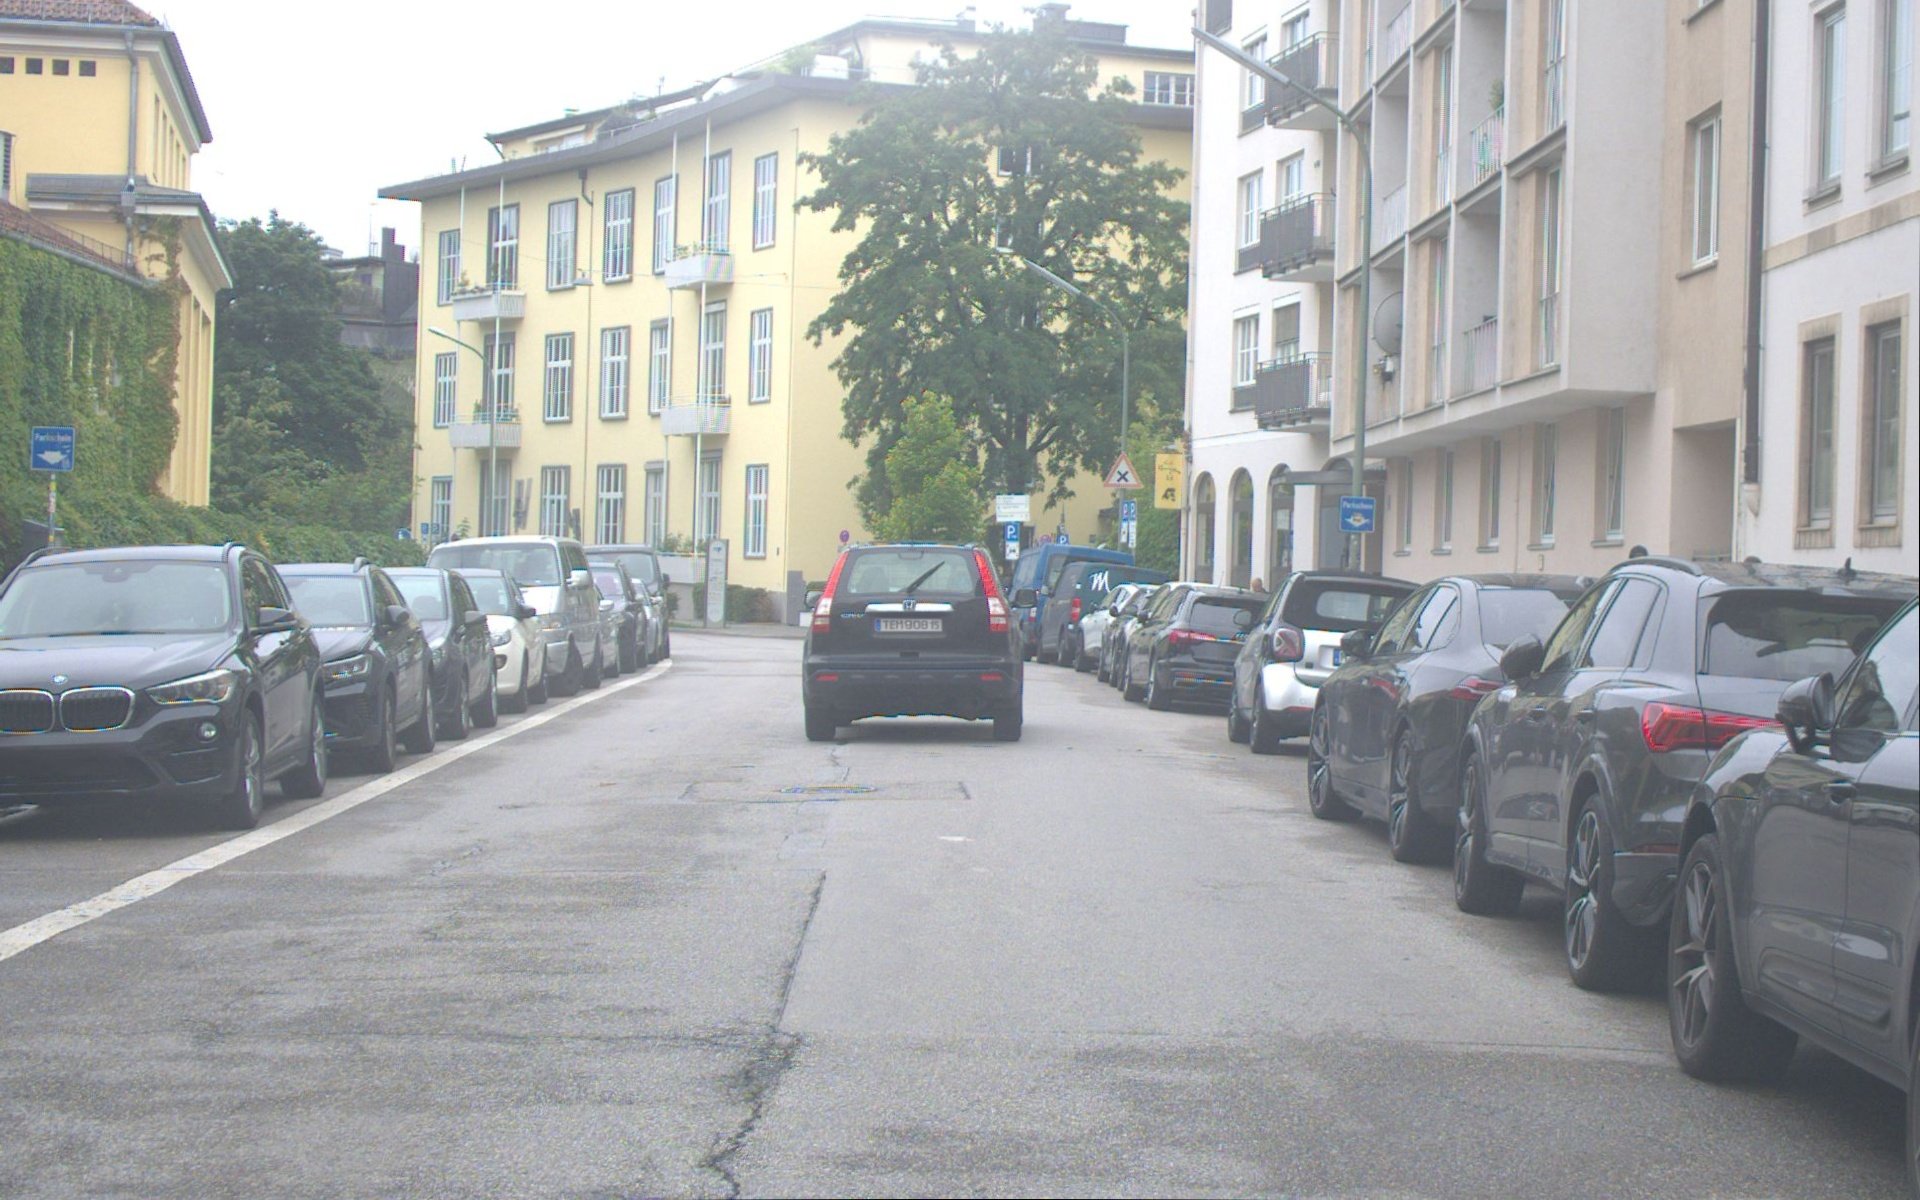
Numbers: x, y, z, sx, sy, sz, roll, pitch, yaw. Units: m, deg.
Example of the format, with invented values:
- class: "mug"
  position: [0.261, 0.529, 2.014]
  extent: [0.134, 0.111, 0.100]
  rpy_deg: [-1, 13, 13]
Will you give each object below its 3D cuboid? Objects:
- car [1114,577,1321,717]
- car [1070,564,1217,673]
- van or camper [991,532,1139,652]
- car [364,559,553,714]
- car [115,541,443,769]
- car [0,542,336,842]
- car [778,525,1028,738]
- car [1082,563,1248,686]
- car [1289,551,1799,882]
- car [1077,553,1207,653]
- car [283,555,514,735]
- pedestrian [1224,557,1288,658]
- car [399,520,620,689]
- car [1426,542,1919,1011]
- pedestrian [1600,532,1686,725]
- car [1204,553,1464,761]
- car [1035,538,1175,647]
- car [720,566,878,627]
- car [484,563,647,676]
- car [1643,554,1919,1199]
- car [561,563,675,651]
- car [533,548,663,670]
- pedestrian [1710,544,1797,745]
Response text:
- class: "car"
  position: [2.909, 0.498, 39.695]
  extent: [1.796, 1.416, 4.483]
  rpy_deg: [3, 0, -3]
- class: "car"
  position: [2.675, 0.243, 50.999]
  extent: [1.739, 1.494, 4.496]
  rpy_deg: [1, 1, -3]
- class: "van or camper"
  position: [1.995, -0.198, 66.950]
  extent: [2.060, 2.223, 5.439]
  rpy_deg: [1, 1, -7]
- class: "car"
  position: [-5.147, 0.339, 35.622]
  extent: [1.578, 1.487, 3.731]
  rpy_deg: [1, 1, -3]
- class: "car"
  position: [-4.938, 0.339, 25.433]
  extent: [1.781, 1.532, 4.149]
  rpy_deg: [1, 1, -3]
- class: "car"
  position: [-4.791, 0.443, 19.887]
  extent: [1.781, 1.532, 4.196]
  rpy_deg: [1, 1, -3]
- class: "car"
  position: [-0.459, 0.216, 29.810]
  extent: [1.995, 1.688, 4.380]
  rpy_deg: [1, 1, 0]
- class: "car"
  position: [2.666, 0.292, 45.527]
  extent: [1.739, 1.494, 4.220]
  rpy_deg: [1, 1, -3]
- class: "car"
  position: [3.021, 0.523, 18.830]
  extent: [1.855, 1.539, 4.816]
  rpy_deg: [1, 1, -1]
- class: "car"
  position: [2.925, 0.014, 55.915]
  extent: [1.739, 1.532, 4.274]
  rpy_deg: [1, 1, -2]
- class: "car"
  position: [-4.880, 0.344, 30.282]
  extent: [1.578, 1.450, 3.905]
  rpy_deg: [1, 1, -3]
- class: "pedestrian"
  position: [5.024, 0.123, 58.384]
  extent: [0.898, 1.682, 1.320]
  rpy_deg: [1, 0, -2]
- class: "car"
  position: [-5.267, 0.007, 40.811]
  extent: [1.993, 1.869, 4.758]
  rpy_deg: [1, 1, 0]
- class: "car"
  position: [3.045, 0.561, 13.740]
  extent: [1.778, 1.579, 4.272]
  rpy_deg: [0, 1, 0]
- class: "pedestrian"
  position: [5.916, 0.243, 29.795]
  extent: [0.596, 1.648, 0.630]
  rpy_deg: [1, 1, -1]
- class: "car"
  position: [3.156, 0.433, 29.711]
  extent: [1.671, 1.529, 3.881]
  rpy_deg: [5, 1, -1]
- class: "car"
  position: [2.531, -0.179, 61.149]
  extent: [1.964, 1.810, 4.936]
  rpy_deg: [1, 1, -3]
- class: "car"
  position: [-4.563, -0.101, 97.620]
  extent: [3.992, 1.612, 1.997]
  rpy_deg: [2, 1, 26]
- class: "car"
  position: [-5.281, 0.225, 46.478]
  extent: [1.701, 1.418, 4.425]
  rpy_deg: [1, 1, 0]
- class: "car"
  position: [3.021, 0.729, 8.499]
  extent: [1.778, 1.579, 4.330]
  rpy_deg: [3, 1, 1]
- class: "car"
  position: [-5.642, 0.090, 57.104]
  extent: [1.619, 1.373, 4.072]
  rpy_deg: [1, 1, -2]
- class: "car"
  position: [-5.389, 0.101, 51.561]
  extent: [1.619, 1.724, 4.425]
  rpy_deg: [1, 1, -2]
- class: "pedestrian"
  position: [6.336, 0.349, 27.470]
  extent: [0.531, 1.579, 0.560]
  rpy_deg: [1, 1, -1]
